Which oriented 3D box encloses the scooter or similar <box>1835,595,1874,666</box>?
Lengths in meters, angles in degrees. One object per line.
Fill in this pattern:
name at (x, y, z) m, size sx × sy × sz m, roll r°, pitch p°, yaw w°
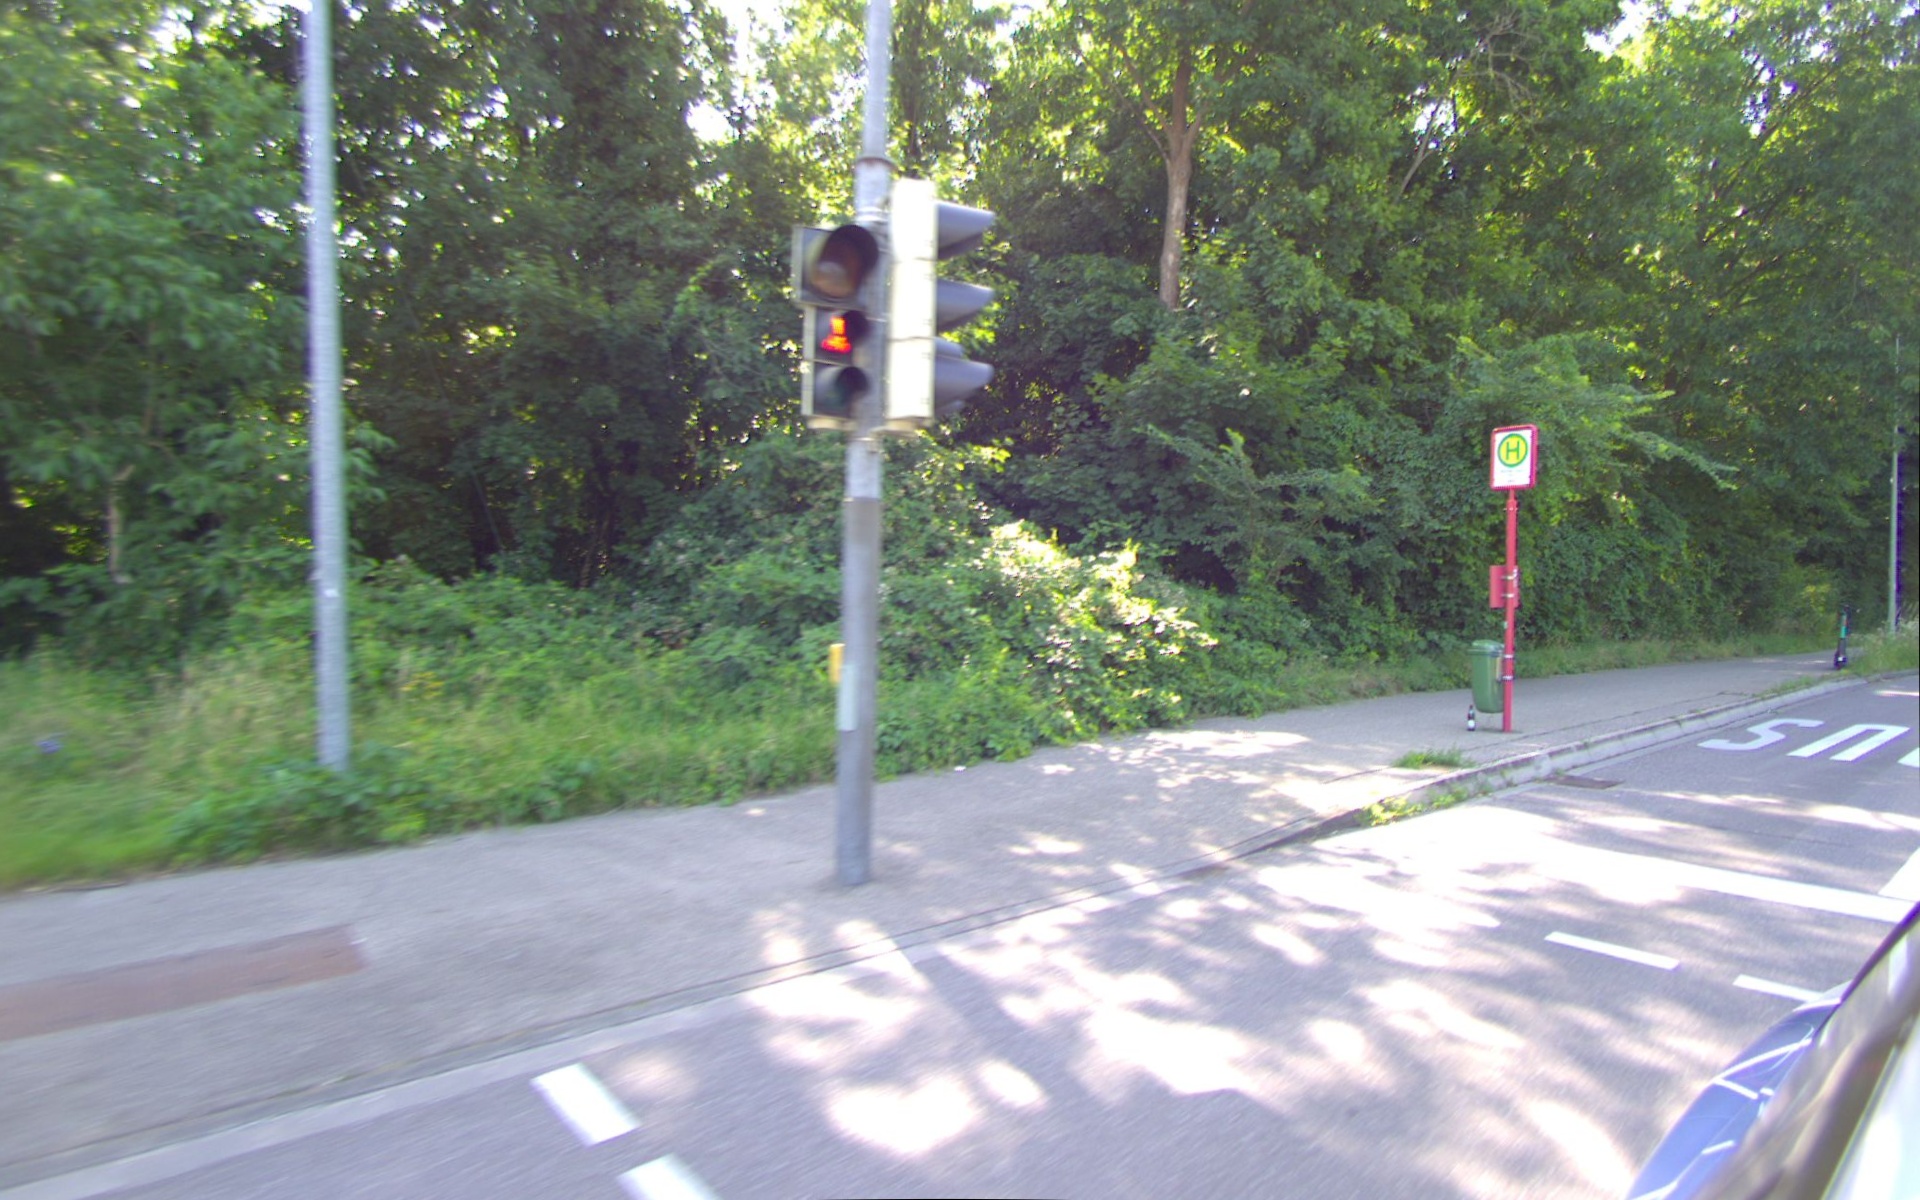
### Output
scooter or similar at (17.467, 0.566, 19.783) m, size 0.398 × 1.323 × 1.313 m, roll 2°, pitch 2°, yaw 35°
